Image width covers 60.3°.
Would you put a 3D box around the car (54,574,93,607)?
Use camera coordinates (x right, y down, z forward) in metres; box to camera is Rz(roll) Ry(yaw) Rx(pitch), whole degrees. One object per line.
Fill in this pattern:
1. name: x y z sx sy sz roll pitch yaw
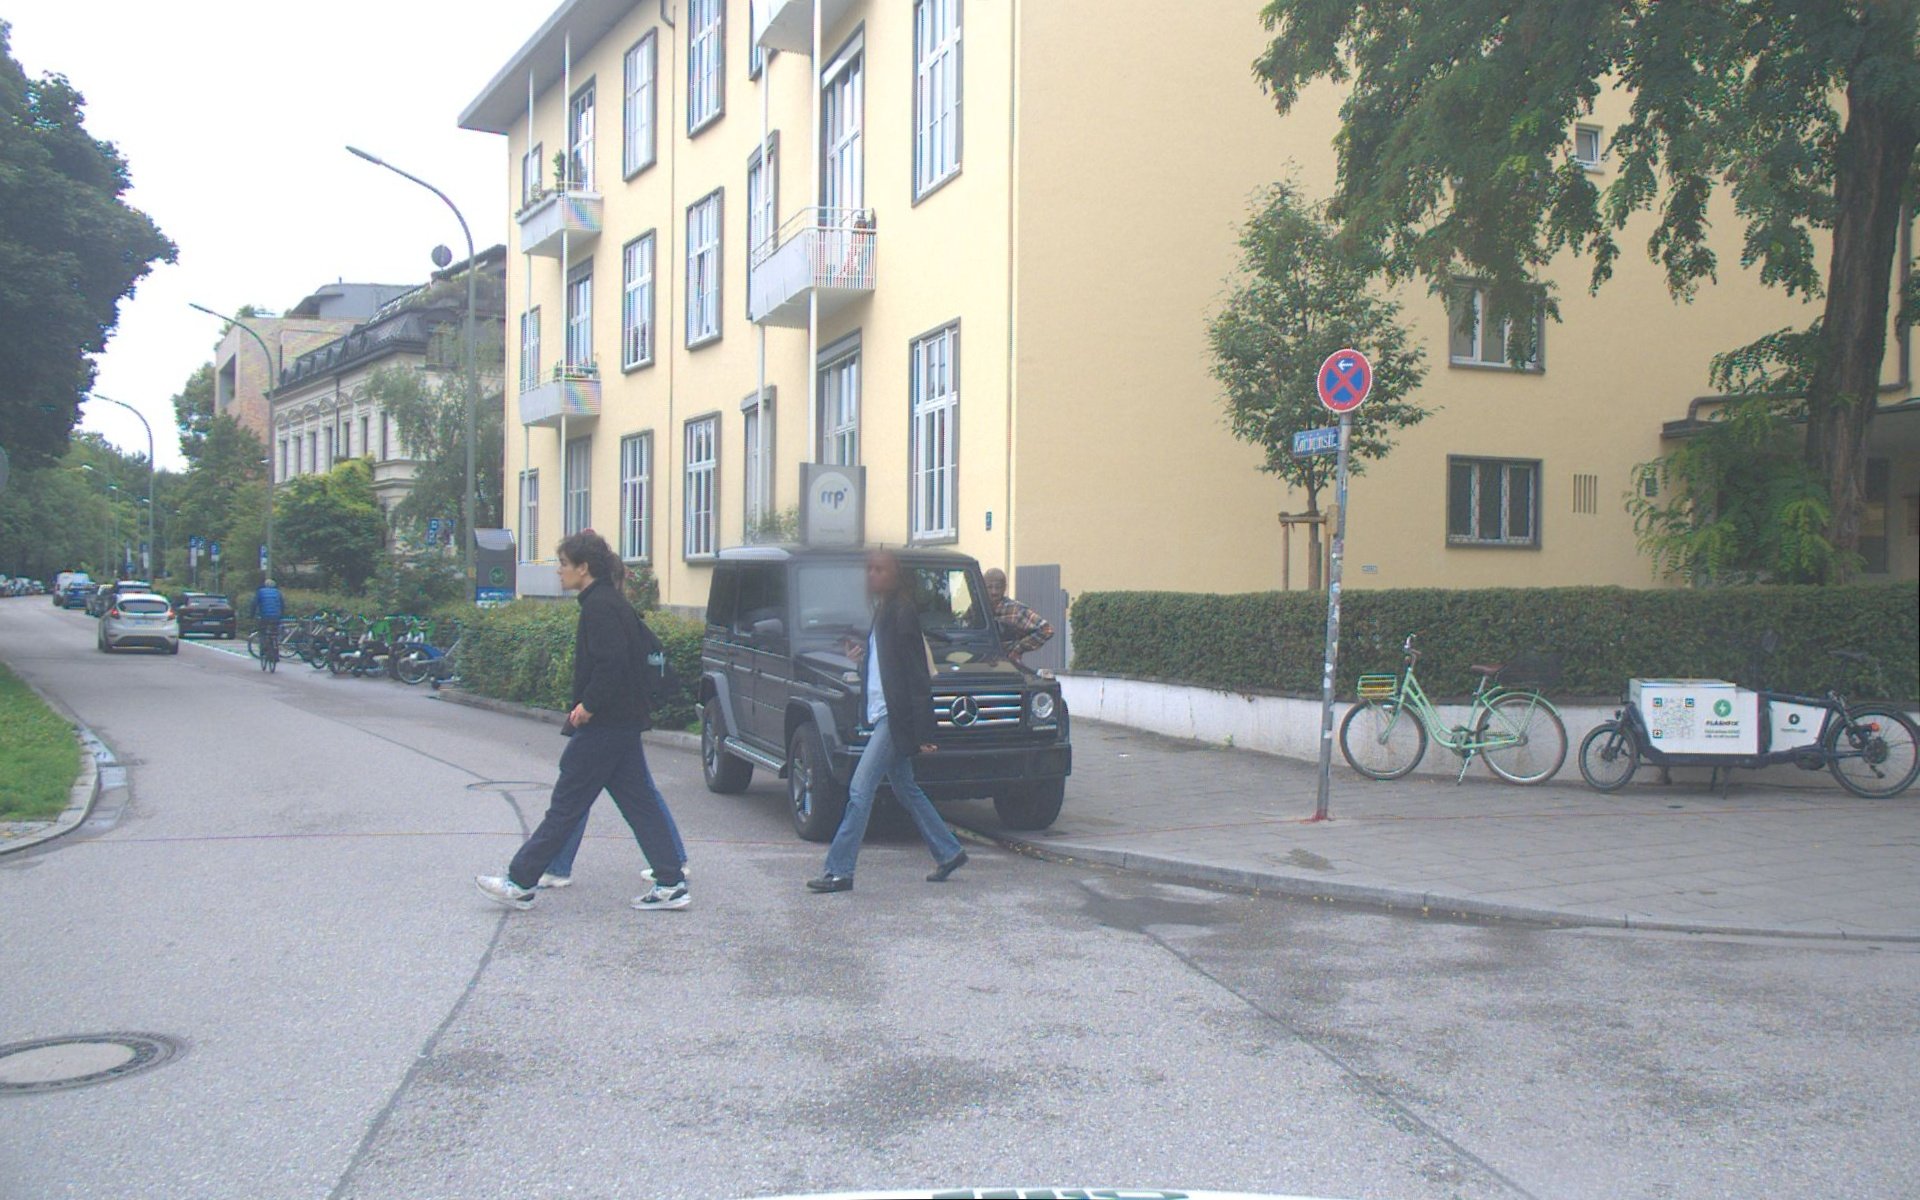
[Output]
1. car: -53.840 -0.570 100.386 2.043 2.000 4.929 0 0 -29

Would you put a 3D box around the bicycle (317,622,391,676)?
1. bicycle: -12.337 0.984 33.721 0.400 1.032 1.535 -1 1 28

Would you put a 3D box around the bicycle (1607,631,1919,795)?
1. bicycle: 5.931 0.804 12.133 2.121 1.135 0.641 0 0 8

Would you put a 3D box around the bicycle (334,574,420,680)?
1. bicycle: -11.558 0.508 32.823 0.447 2.049 1.673 -1 1 32

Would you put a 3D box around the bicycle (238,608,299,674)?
1. bicycle: -14.054 0.803 33.586 0.911 1.274 2.299 0 0 -29

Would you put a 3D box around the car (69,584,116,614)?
1. car: -48.658 -0.084 92.694 1.975 1.628 4.206 0 0 -33

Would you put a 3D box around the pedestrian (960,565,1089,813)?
1. pedestrian: 0.471 0.637 12.448 0.832 1.788 0.952 0 0 -6

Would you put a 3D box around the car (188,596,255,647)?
1. car: -24.009 0.674 53.733 1.629 1.585 3.523 0 0 -30

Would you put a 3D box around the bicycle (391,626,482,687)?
1. bicycle: -9.488 1.013 30.010 1.519 1.032 0.363 -1 1 -34

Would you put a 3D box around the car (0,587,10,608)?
1. car: -75.769 -0.202 129.750 1.970 1.628 4.427 0 0 -28

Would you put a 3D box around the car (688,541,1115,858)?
1. car: -0.674 0.588 12.533 1.847 1.920 4.589 0 0 -21

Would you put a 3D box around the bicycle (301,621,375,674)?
1. bicycle: -12.763 0.960 33.969 0.400 1.032 1.535 -1 1 28

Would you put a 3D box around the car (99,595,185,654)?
1. car: -20.841 0.594 42.064 1.729 1.431 3.689 0 0 -30

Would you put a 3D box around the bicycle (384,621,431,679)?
1. bicycle: -10.551 0.942 31.611 0.358 1.032 1.538 -1 1 0

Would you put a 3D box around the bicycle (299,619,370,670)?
1. bicycle: -13.473 0.955 35.653 0.400 1.032 1.535 -1 1 28

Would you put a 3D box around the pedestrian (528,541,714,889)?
1. pedestrian: -1.791 0.584 8.837 0.809 1.776 0.741 0 0 3

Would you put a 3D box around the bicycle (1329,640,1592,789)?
1. bicycle: 3.935 0.886 13.102 1.910 1.104 0.527 -2 -2 35

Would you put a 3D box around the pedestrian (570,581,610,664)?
1. pedestrian: -7.764 0.471 34.713 0.624 1.713 0.691 -1 0 -29

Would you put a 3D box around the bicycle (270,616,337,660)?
1. bicycle: -16.329 0.942 41.175 0.402 1.032 1.529 0 1 41

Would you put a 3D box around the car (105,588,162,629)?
1. car: -35.008 0.334 70.006 1.776 1.709 3.954 0 0 -33

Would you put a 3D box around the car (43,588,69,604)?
1. car: -92.943 -0.457 170.123 1.967 1.628 4.435 0 0 -23

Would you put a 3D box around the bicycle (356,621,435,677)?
1. bicycle: -11.117 0.960 32.608 0.360 1.032 1.531 -1 1 37

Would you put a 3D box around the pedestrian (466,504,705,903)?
1. pedestrian: -1.793 0.478 8.005 0.969 1.841 0.660 0 0 5

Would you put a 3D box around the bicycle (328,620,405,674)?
1. bicycle: -11.959 0.937 33.341 0.401 1.032 1.534 -1 1 32

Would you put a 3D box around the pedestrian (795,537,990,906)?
1. pedestrian: -0.381 0.621 9.020 0.838 1.890 0.762 -1 0 -22

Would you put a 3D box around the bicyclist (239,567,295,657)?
1. bicyclist: -14.133 0.244 33.724 0.904 1.795 1.203 0 0 -30
